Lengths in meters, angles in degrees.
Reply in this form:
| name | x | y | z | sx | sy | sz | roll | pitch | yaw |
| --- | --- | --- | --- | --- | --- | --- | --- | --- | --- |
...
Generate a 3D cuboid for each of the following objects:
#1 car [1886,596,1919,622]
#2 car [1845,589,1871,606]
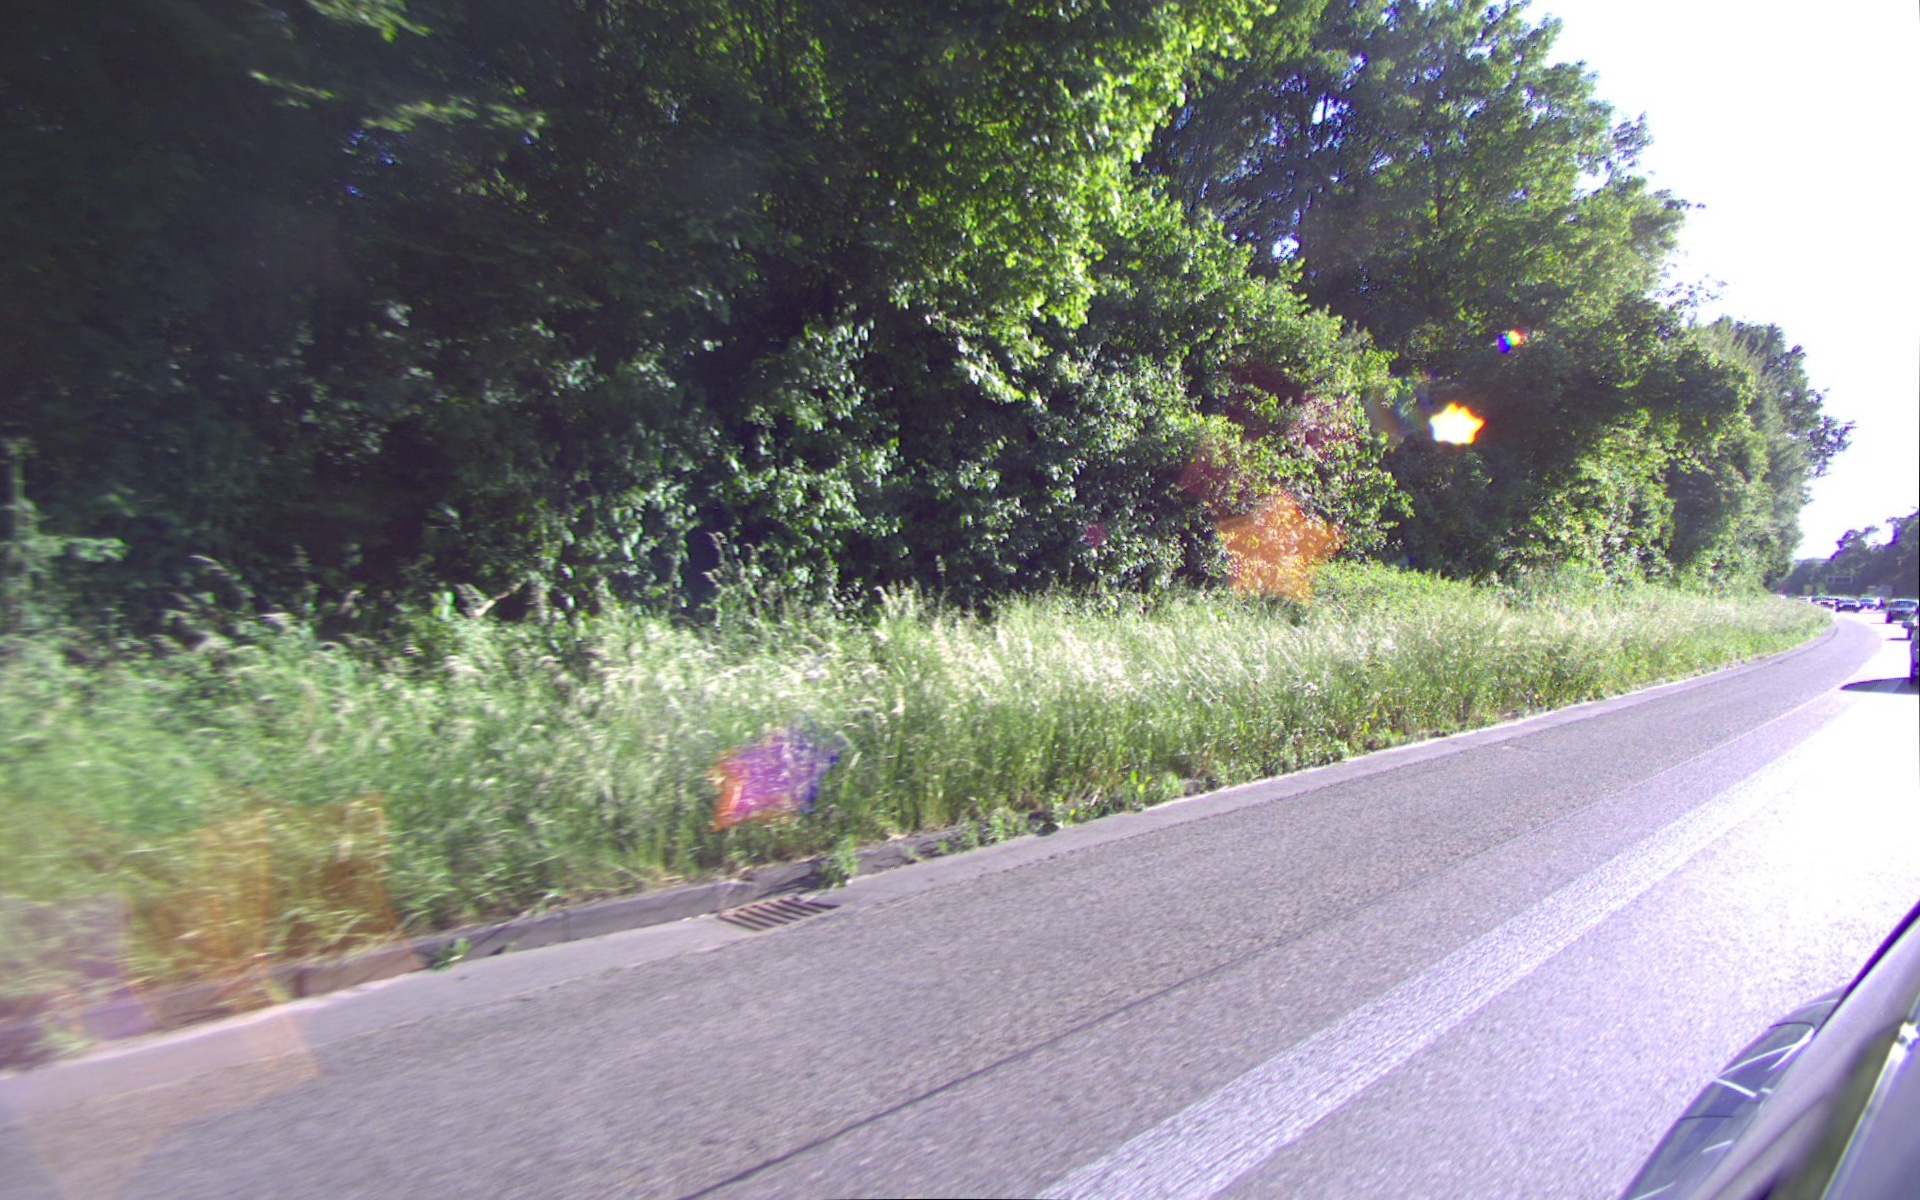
| name | x | y | z | sx | sy | sz | roll | pitch | yaw |
| --- | --- | --- | --- | --- | --- | --- | --- | --- | --- |
| car | 61.921 | 0.607 | 65.981 | 1.928 | 1.526 | 5.012 | 5 | 3 | 40 |
| car | 95.283 | -0.263 | 107.431 | 1.927 | 1.526 | 5.014 | 0 | 3 | 40 |
